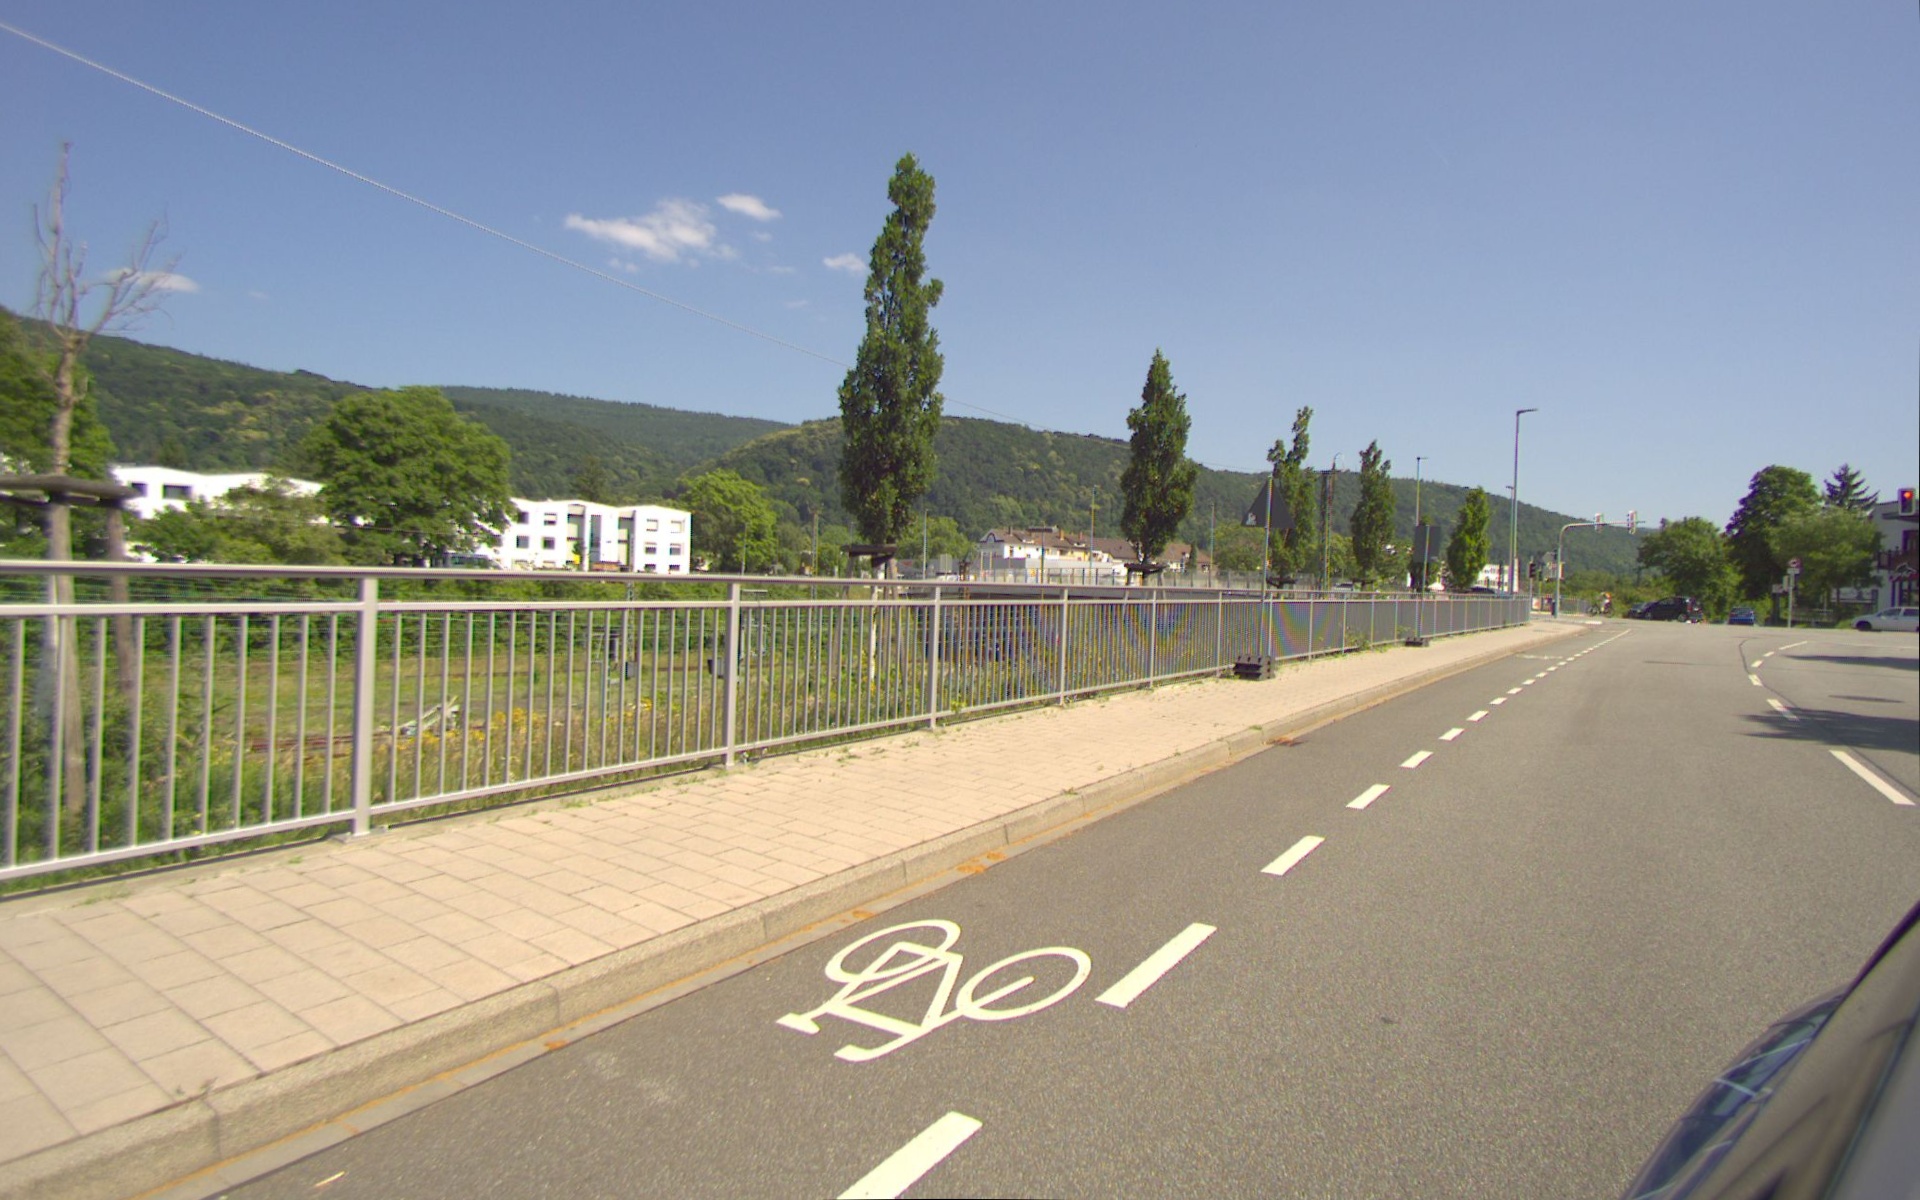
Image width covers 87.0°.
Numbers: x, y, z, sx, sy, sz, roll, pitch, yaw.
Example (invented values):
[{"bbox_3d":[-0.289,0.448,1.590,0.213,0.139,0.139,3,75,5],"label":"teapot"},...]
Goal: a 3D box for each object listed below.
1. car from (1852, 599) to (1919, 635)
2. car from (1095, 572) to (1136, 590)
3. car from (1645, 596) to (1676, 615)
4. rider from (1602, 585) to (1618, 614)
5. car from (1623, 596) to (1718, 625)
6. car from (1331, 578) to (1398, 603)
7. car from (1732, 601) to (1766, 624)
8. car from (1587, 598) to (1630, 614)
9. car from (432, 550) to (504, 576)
[{"bbox_3d":[48.357,0.869,51.305,1.795,1.646,4.377,-3,3,-28],"label":"car"},{"bbox_3d":[15.563,-1.937,101.656,1.794,1.672,4.590,-2,3,-26],"label":"car"},{"bbox_3d":[50.182,0.353,72.520,1.599,1.271,3.641,2,2,32],"label":"car"},{"bbox_3d":[42.945,-0.035,66.876,0.537,1.835,0.686,-2,3,-29],"label":"rider"},{"bbox_3d":[42.691,0.599,60.915,1.795,1.509,4.377,-3,3,-28],"label":"car"},{"bbox_3d":[30.438,-0.722,76.339,1.794,1.672,4.778,-2,3,-25],"label":"car"},{"bbox_3d":[58.843,0.900,75.530,1.599,1.555,3.641,2,2,32],"label":"car"},{"bbox_3d":[42.911,0.408,67.001,0.564,0.913,2.386,-2,3,-29],"label":"car"},{"bbox_3d":[-44.306,-3.313,91.273,2.128,2.129,5.432,-4,-1,44],"label":"car"}]
